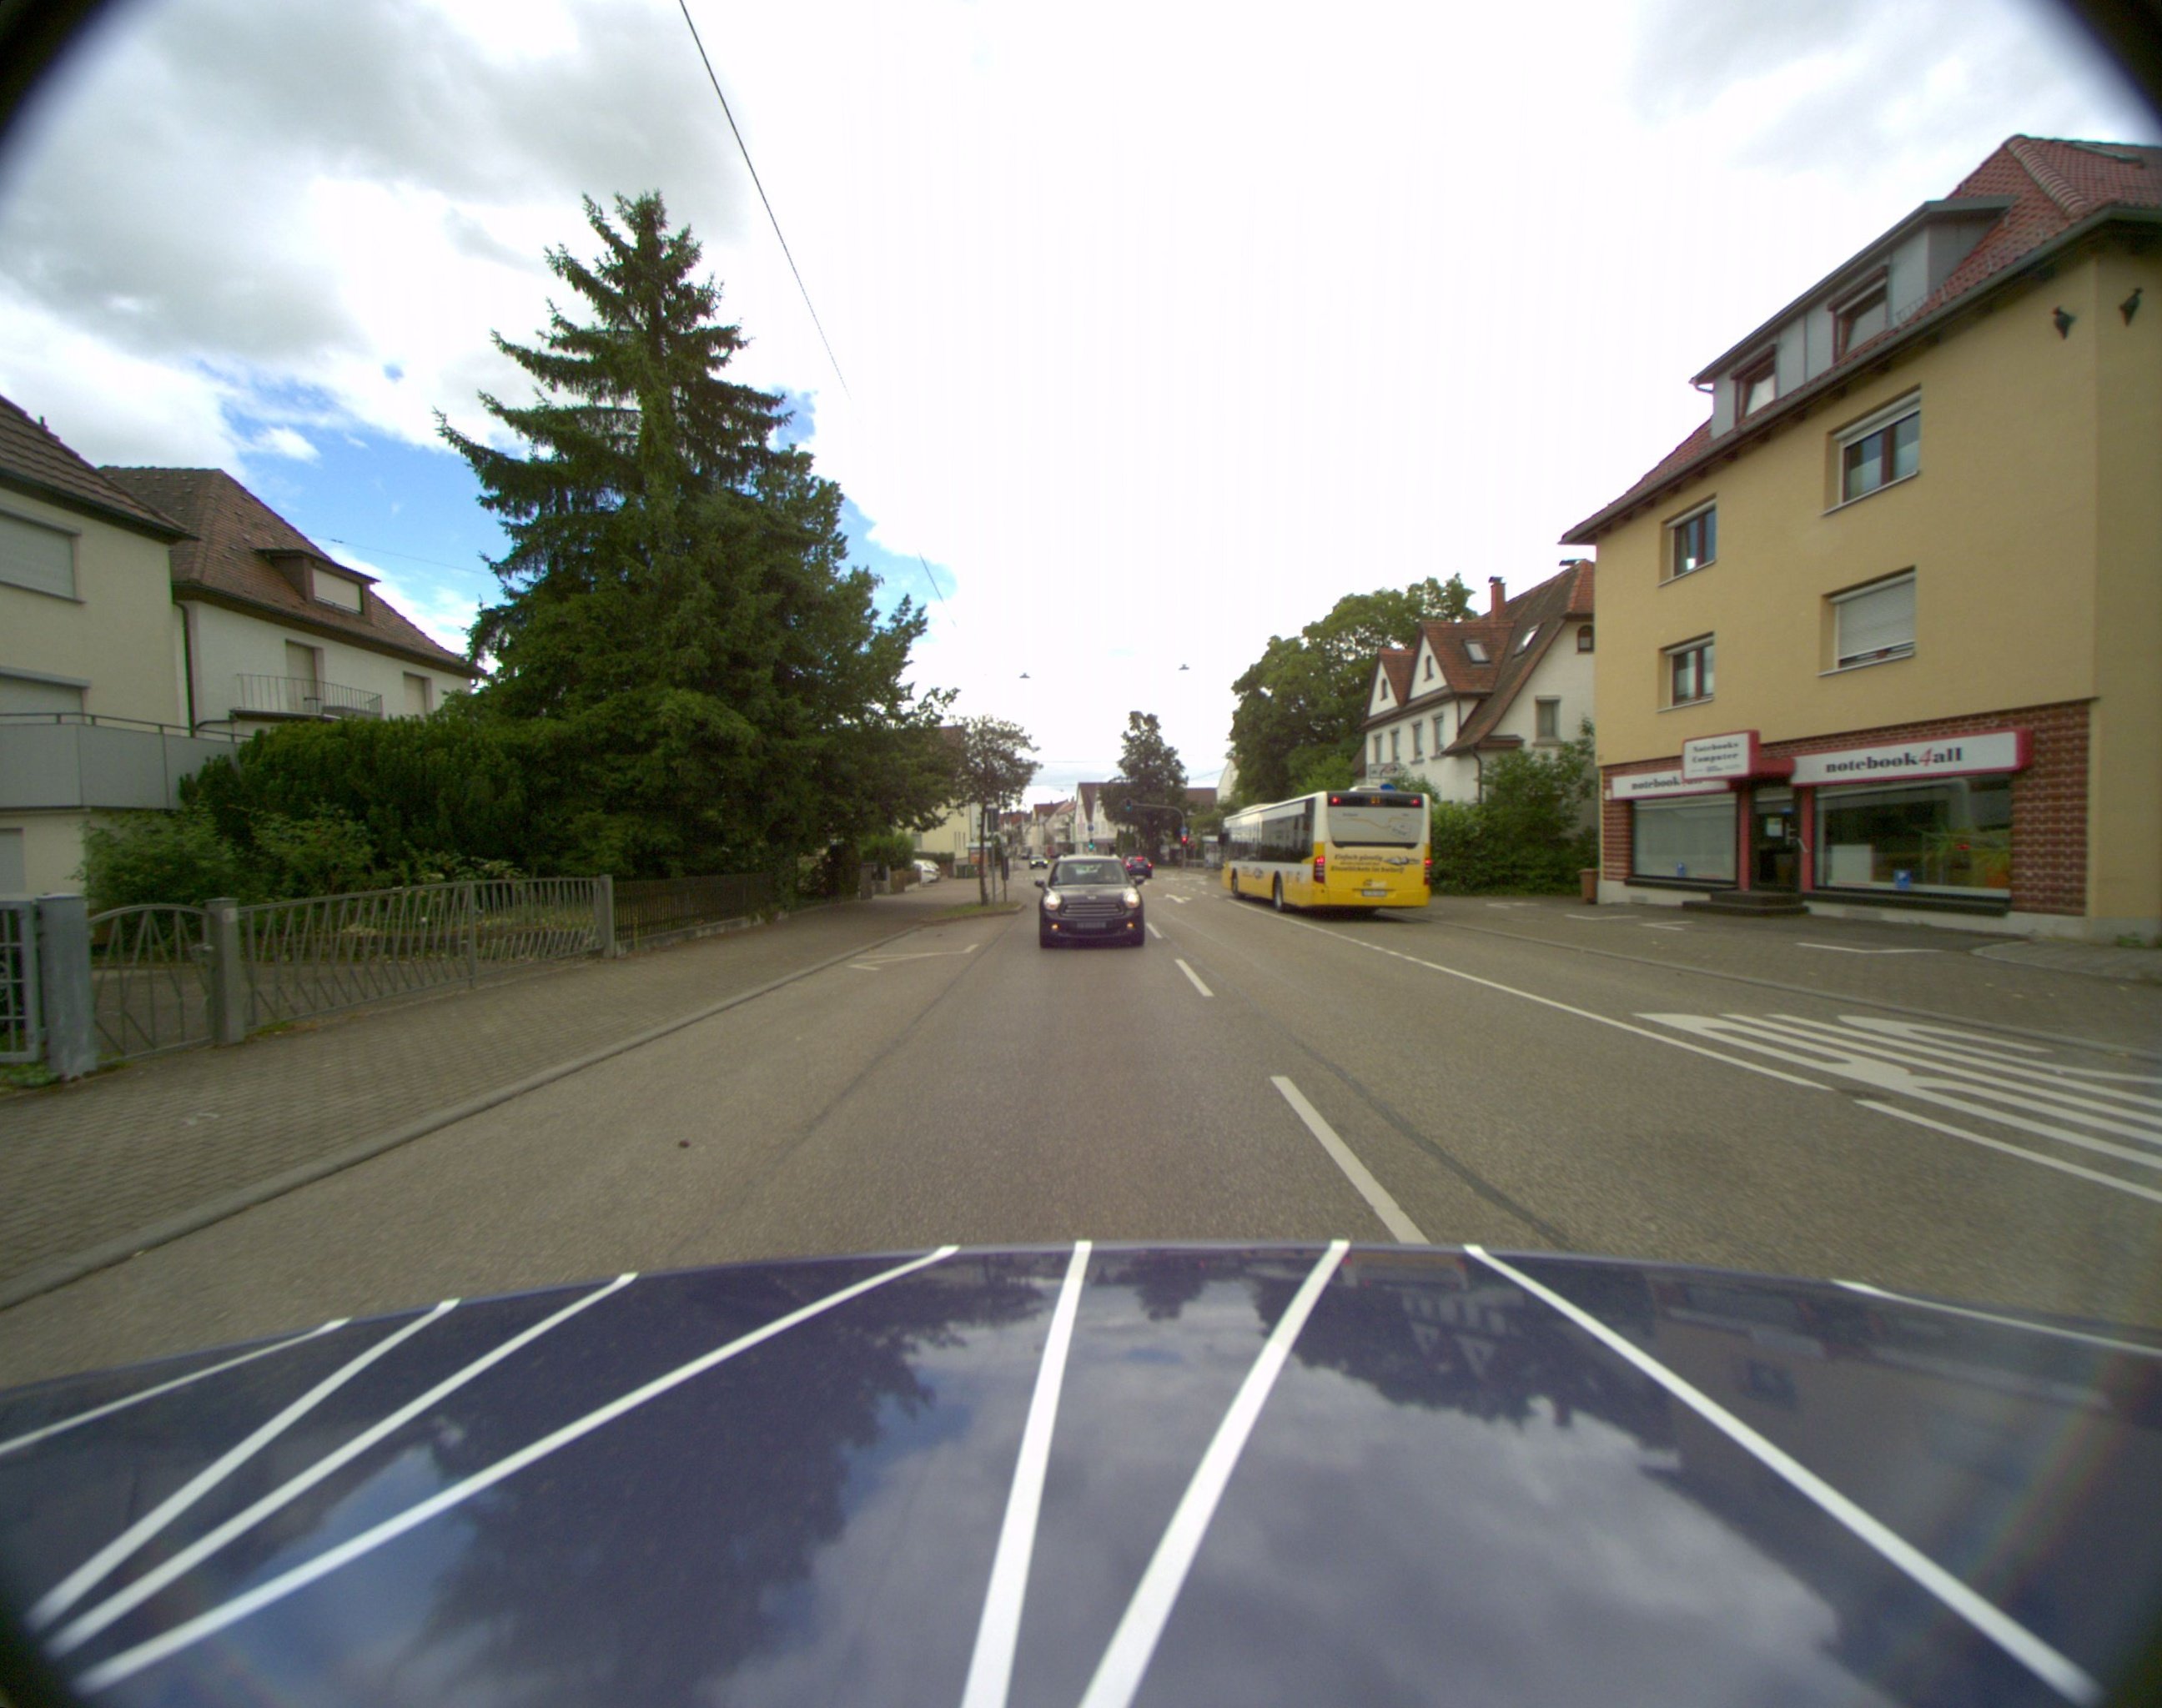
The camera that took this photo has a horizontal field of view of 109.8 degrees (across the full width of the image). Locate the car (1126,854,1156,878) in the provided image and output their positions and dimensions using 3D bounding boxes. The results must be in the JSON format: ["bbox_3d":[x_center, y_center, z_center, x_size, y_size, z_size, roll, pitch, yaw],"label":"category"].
[{"bbox_3d":[3.999,0.787,51.209,1.568,1.412,4.129,-1,2,-1],"label":"car"}]

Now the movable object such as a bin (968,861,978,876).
[{"bbox_3d":[-7.928,1.035,55.709,0.638,1.040,0.585,-3,2,-8],"label":"movable object such as a bin"}]

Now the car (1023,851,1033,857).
[{"bbox_3d":[-11.541,-0.003,165.192,1.635,1.404,3.995,-1,1,-14],"label":"car"}]

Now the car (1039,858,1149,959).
[{"bbox_3d":[0.137,0.873,14.073,1.694,1.506,3.999,-2,0,-2],"label":"car"}]

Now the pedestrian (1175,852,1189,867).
[{"bbox_3d":[11.632,0.620,87.294,1.226,1.744,0.825,-1,2,41],"label":"pedestrian"}]

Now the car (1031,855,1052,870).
[{"bbox_3d":[-4.683,0.994,89.207,1.847,1.510,3.995,-3,2,-10],"label":"car"}]

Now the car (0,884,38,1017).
[{"bbox_3d":[-13.438,1.065,7.462,3.997,1.385,1.645,-1,1,-1],"label":"car"}]

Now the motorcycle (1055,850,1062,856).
[{"bbox_3d":[-4.622,-0.181,155.300,1.430,1.017,0.524,-4,2,-11],"label":"motorcycle"}]

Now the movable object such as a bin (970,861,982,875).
[{"bbox_3d":[-7.819,1.039,56.480,0.637,1.040,0.592,-2,2,24],"label":"movable object such as a bin"}]

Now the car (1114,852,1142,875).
[{"bbox_3d":[3.594,0.692,58.817,1.762,1.626,4.593,1,2,-1],"label":"car"}]

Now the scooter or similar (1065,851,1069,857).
[{"bbox_3d":[-2.521,0.035,137.830,0.465,1.117,1.828,-2,1,4],"label":"scooter or similar"}]

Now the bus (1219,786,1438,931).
[{"bbox_3d":[6.347,0.062,22.174,2.638,3.068,12.069,0,0,1],"label":"bus"}]

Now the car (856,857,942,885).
[{"bbox_3d":[-10.267,0.945,43.144,4.431,1.480,1.864,0,2,-1],"label":"car"}]

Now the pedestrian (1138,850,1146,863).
[{"bbox_3d":[7.439,0.327,92.493,0.642,1.596,0.865,-3,2,-21],"label":"pedestrian"}]

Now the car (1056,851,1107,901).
[{"bbox_3d":[-0.061,0.790,30.011,1.811,1.556,4.615,-2,3,-2],"label":"car"}]

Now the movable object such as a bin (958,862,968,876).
[{"bbox_3d":[-8.638,1.103,55.561,0.638,1.040,0.585,-1,2,-8],"label":"movable object such as a bin"}]

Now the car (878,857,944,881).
[{"bbox_3d":[-10.539,0.944,47.390,3.814,1.394,1.639,0,2,-5],"label":"car"}]
